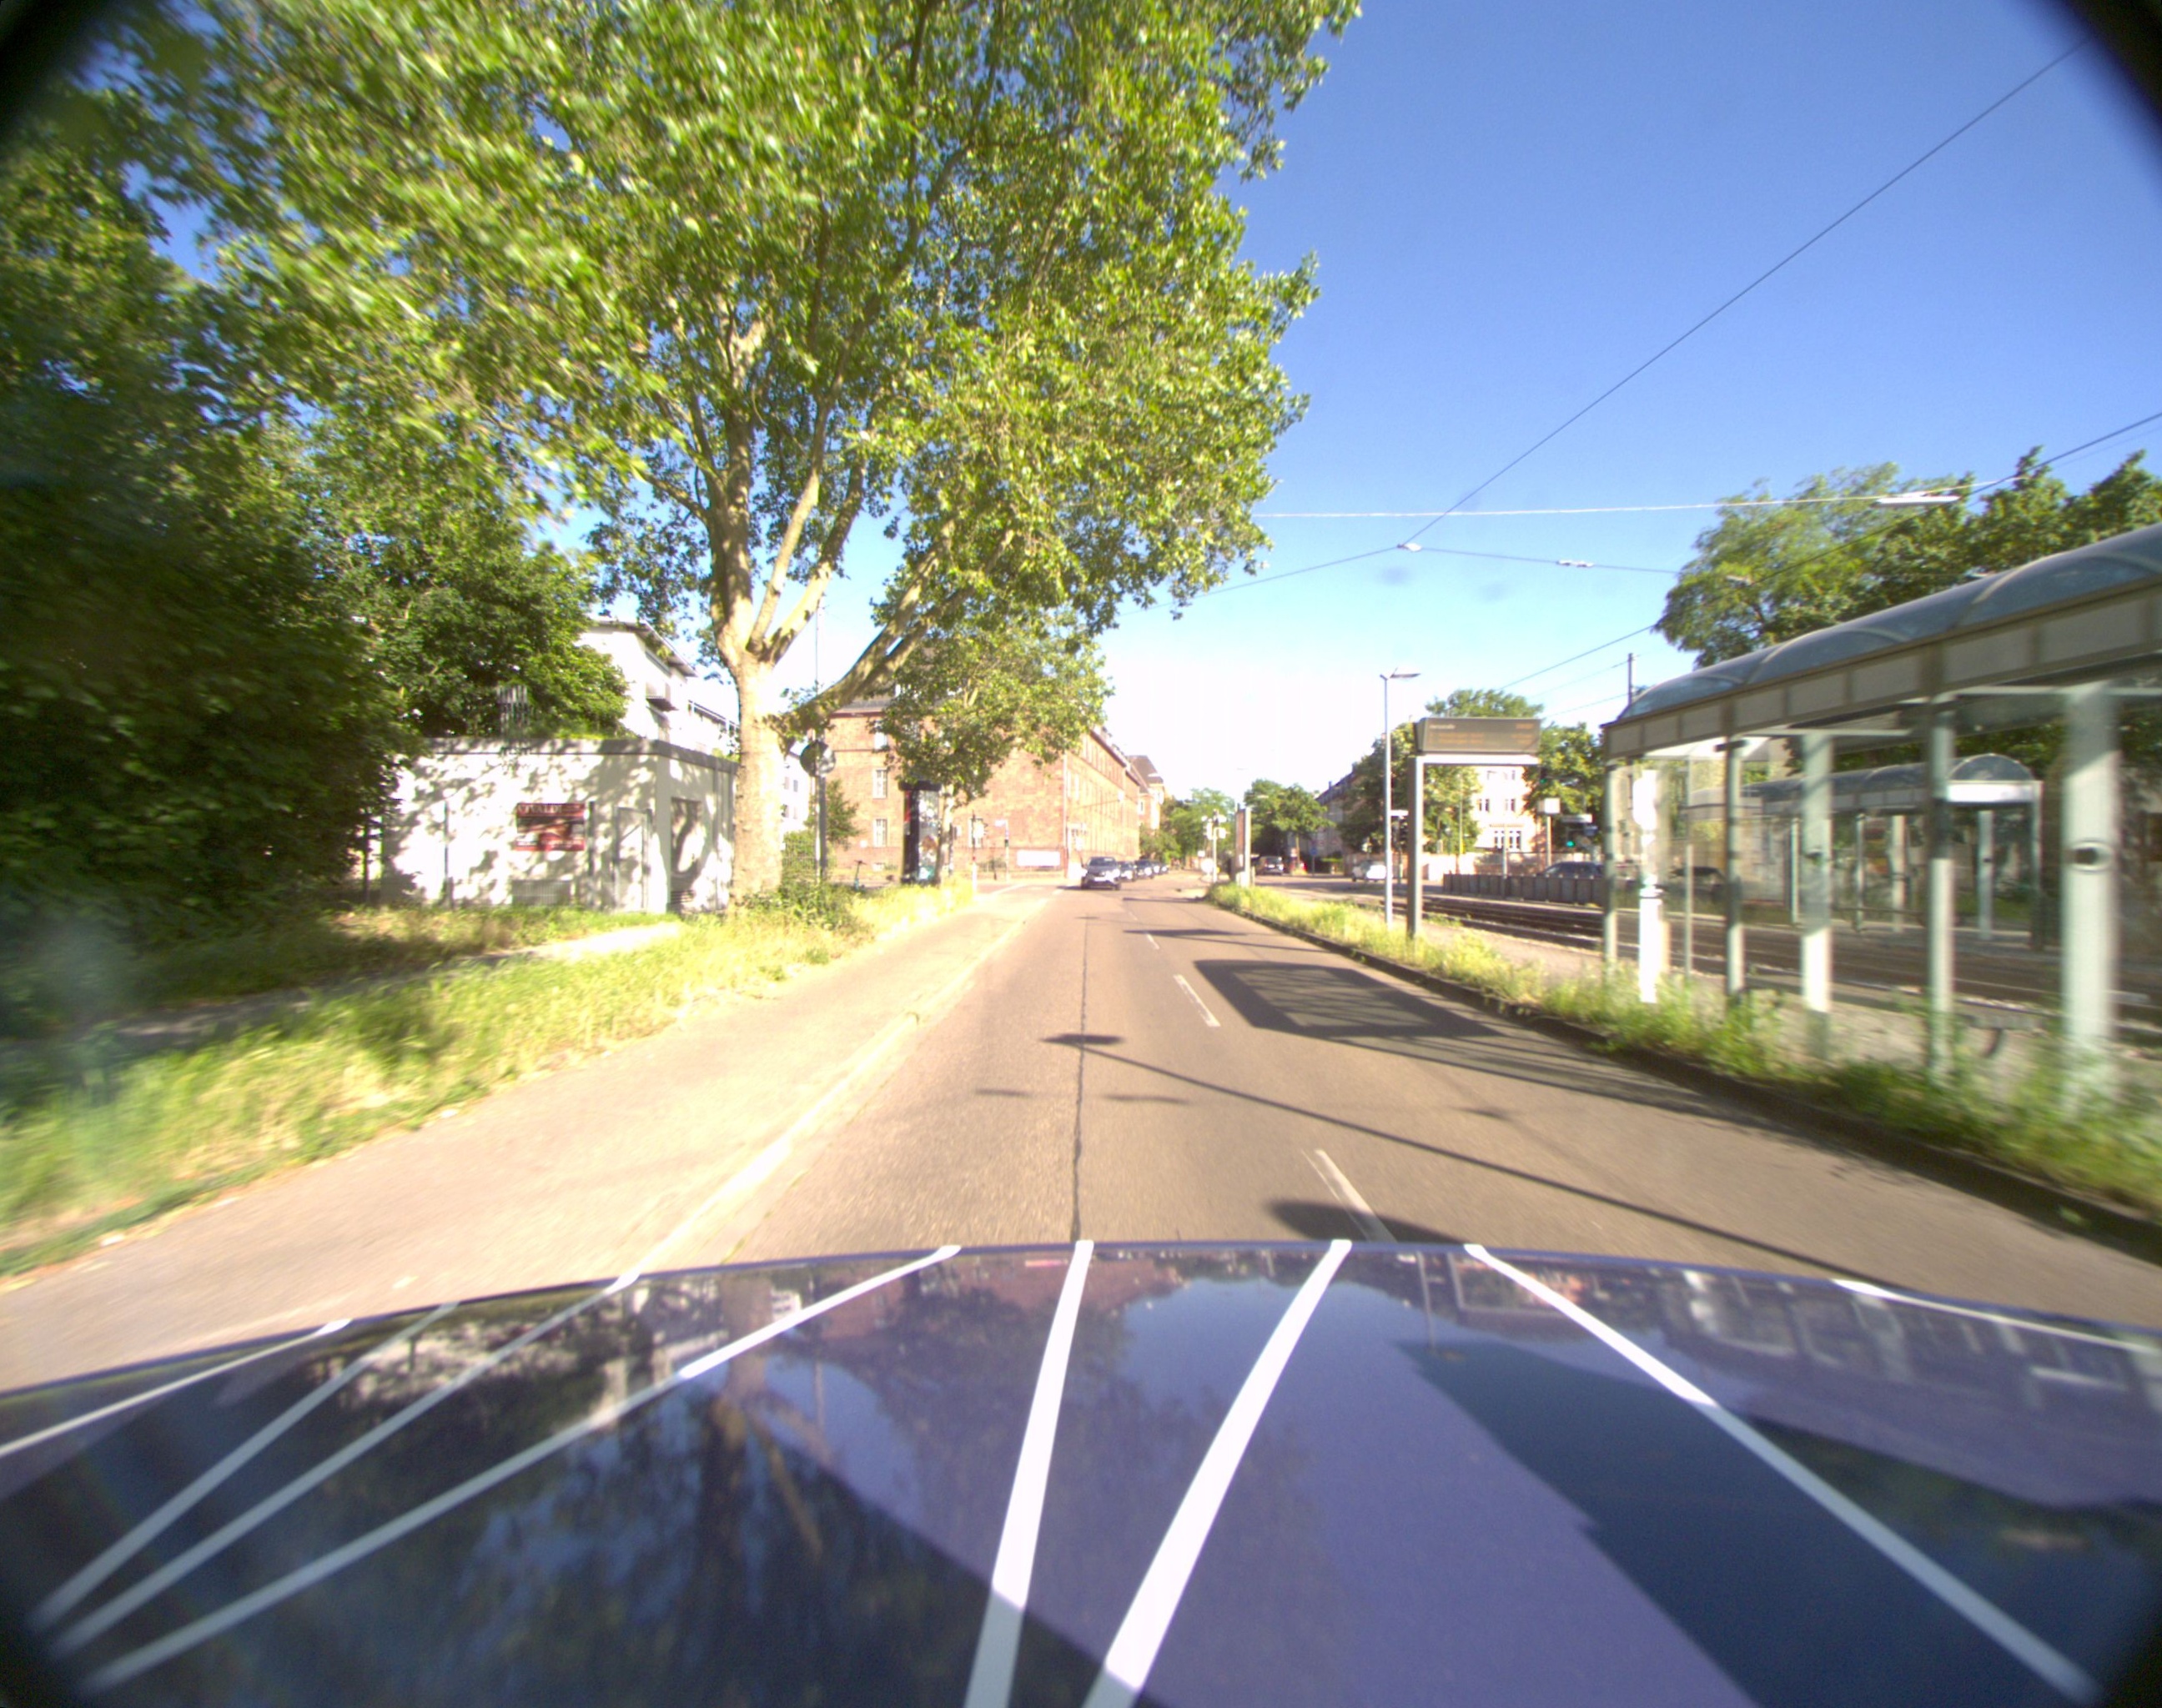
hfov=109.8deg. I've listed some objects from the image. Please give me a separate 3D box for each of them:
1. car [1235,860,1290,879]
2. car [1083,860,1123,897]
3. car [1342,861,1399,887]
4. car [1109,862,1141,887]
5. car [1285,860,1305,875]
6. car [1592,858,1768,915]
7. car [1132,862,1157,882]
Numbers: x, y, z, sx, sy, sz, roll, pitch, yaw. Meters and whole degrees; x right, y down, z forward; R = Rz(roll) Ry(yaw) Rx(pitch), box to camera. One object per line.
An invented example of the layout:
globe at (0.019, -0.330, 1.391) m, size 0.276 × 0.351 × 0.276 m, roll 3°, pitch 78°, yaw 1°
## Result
car at (16.889, 1.457, 70.952) m, size 2.004 × 1.756 × 5.020 m, roll 1°, pitch -2°, yaw -31°
car at (1.063, 1.110, 35.853) m, size 1.795 × 1.595 × 3.800 m, roll -1°, pitch 0°, yaw 2°
car at (18.922, 1.282, 49.824) m, size 1.926 × 1.558 × 3.998 m, roll 1°, pitch 0°, yaw -4°
car at (3.016, 1.337, 51.254) m, size 1.794 × 1.595 × 3.802 m, roll -1°, pitch 0°, yaw 9°
car at (25.348, 1.538, 89.983) m, size 1.815 × 1.696 × 3.377 m, roll 0°, pitch 0°, yaw 7°
car at (16.638, 0.839, 21.392) m, size 1.809 × 1.458 × 4.000 m, roll 0°, pitch 0°, yaw 0°
car at (5.393, 1.492, 64.015) m, size 1.794 × 1.638 × 4.086 m, roll -1°, pitch 0°, yaw 9°
